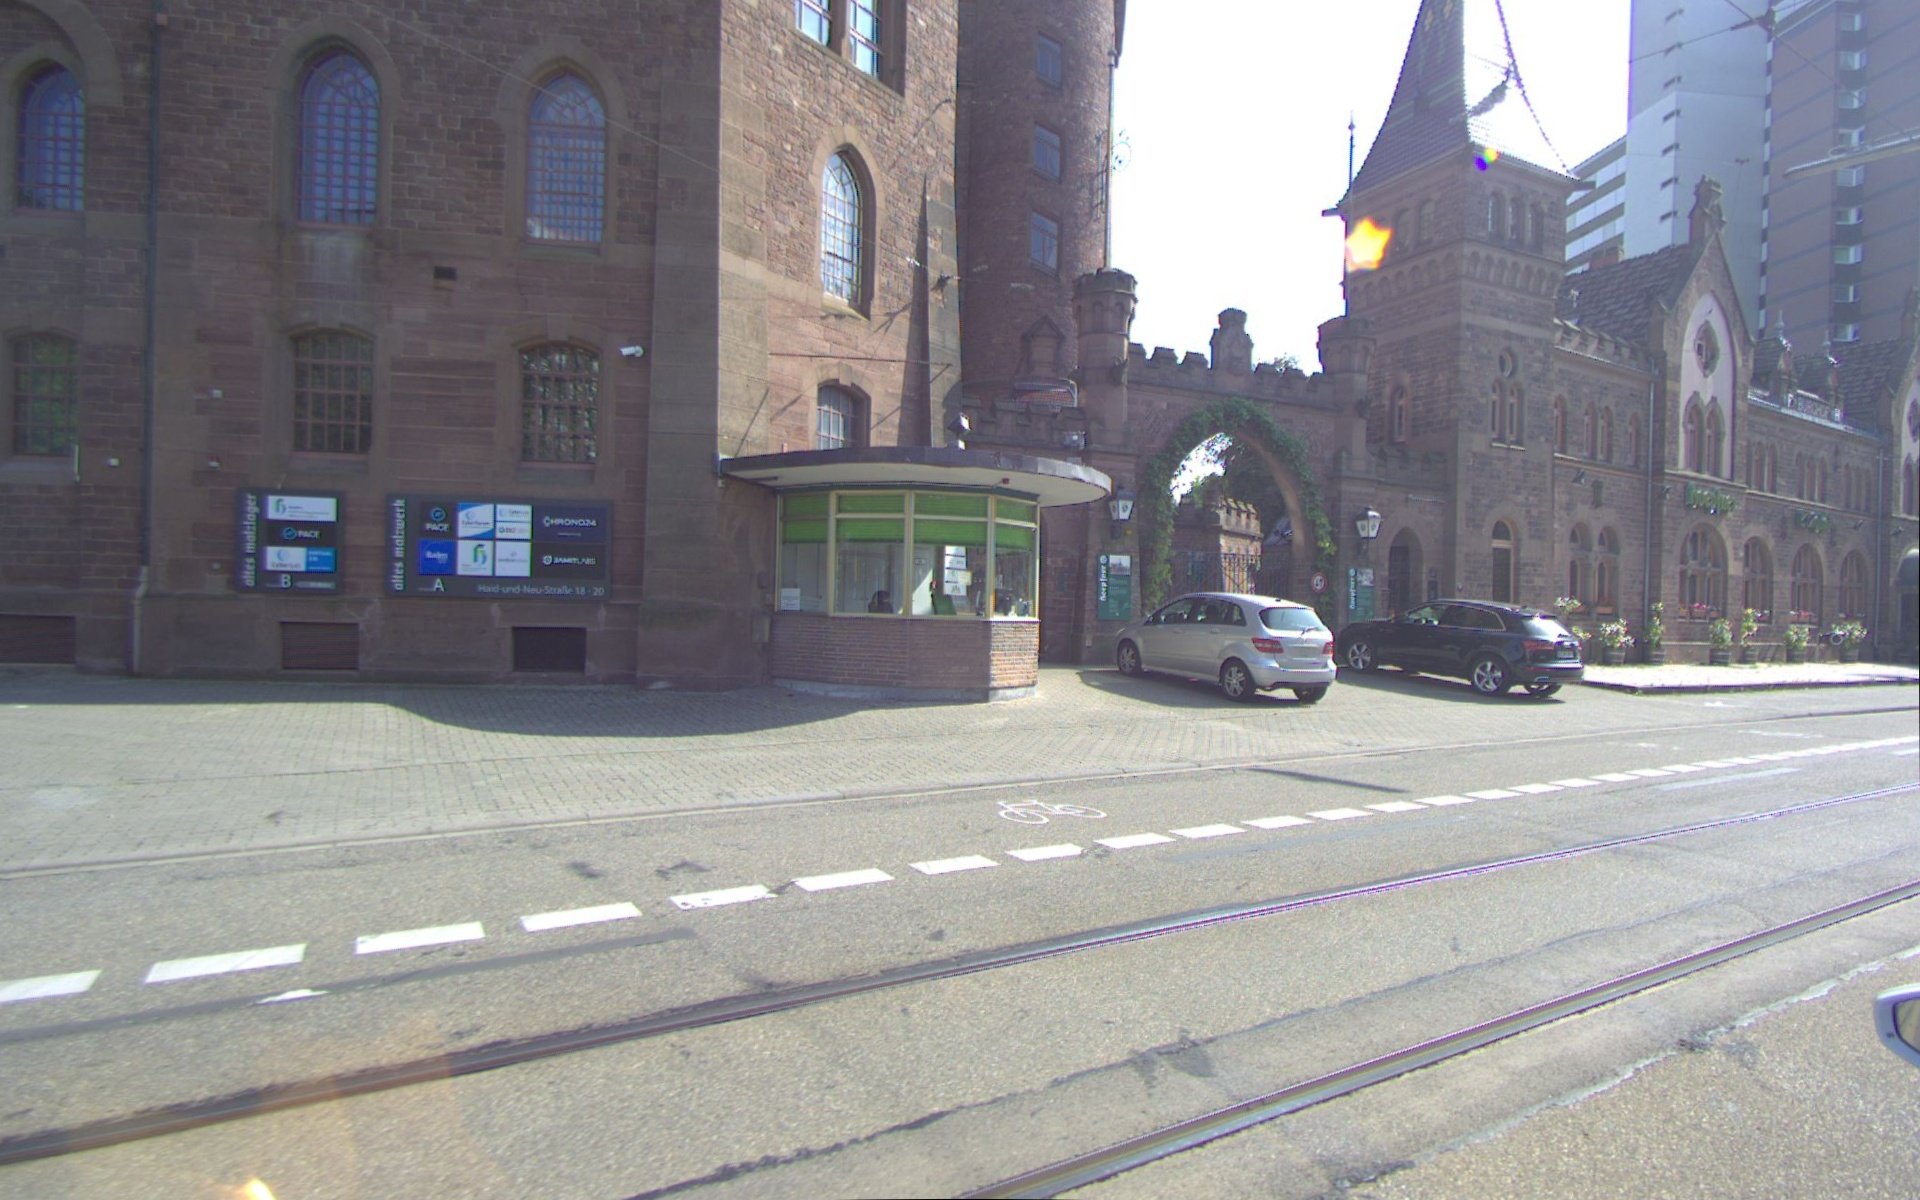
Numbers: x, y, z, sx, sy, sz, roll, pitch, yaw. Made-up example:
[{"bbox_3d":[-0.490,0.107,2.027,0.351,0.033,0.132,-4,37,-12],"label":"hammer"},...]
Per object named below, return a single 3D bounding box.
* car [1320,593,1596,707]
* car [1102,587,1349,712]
[{"bbox_3d":[9.523,0.867,19.566,1.936,1.668,4.370,2,3,-33],"label":"car"},{"bbox_3d":[4.311,0.736,16.904,1.800,1.617,3.882,2,3,-28],"label":"car"}]
